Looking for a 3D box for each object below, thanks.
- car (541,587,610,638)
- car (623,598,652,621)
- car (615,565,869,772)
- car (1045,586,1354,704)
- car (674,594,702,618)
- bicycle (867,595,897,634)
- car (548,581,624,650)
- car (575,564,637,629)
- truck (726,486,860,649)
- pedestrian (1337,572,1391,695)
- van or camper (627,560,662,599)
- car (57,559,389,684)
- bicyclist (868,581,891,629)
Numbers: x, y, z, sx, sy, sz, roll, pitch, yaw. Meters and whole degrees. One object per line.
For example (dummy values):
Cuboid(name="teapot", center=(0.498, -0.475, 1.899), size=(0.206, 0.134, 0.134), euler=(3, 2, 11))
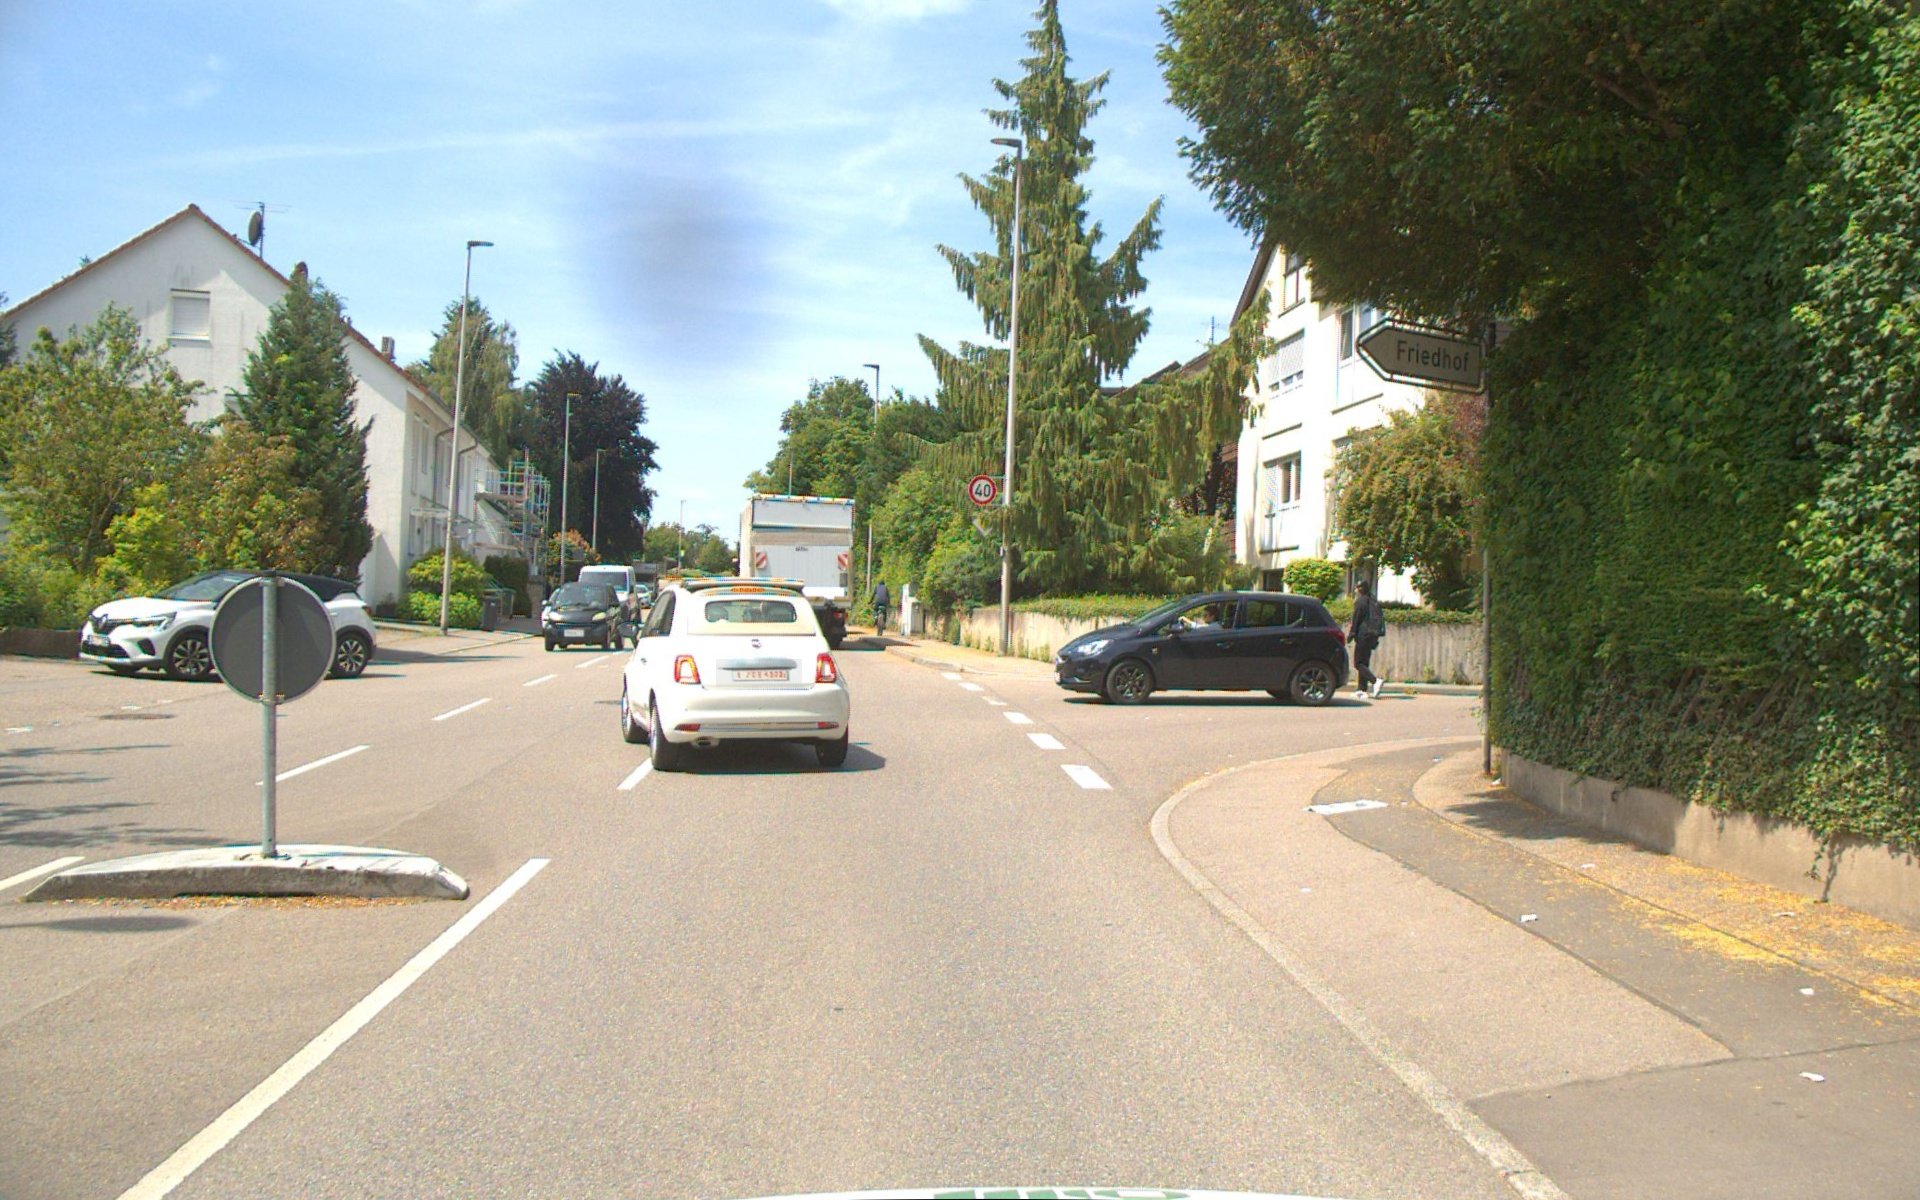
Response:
Cuboid(name="car", center=(-11.550, 0.351, 49.852), size=(1.772, 1.422, 3.991), euler=(1, 0, -10))
Cuboid(name="car", center=(-21.932, 0.659, 112.553), size=(1.448, 1.520, 3.078), euler=(1, 0, -3))
Cuboid(name="car", center=(-2.087, 0.518, 14.853), size=(1.697, 1.587, 3.983), euler=(1, 0, -16))
Cuboid(name="car", center=(3.175, 0.583, 22.321), size=(3.856, 1.483, 1.657), euler=(1, 0, -5))
Cuboid(name="car", center=(-18.831, 0.391, 114.448), size=(1.799, 1.561, 3.992), euler=(2, 0, -9))
Cuboid(name="bicycle", center=(-2.369, 0.434, 49.876), size=(0.655, 1.123, 2.420), euler=(2, 0, -8))
Cuboid(name="car", center=(-8.632, 0.349, 38.292), size=(1.452, 1.536, 2.796), euler=(0, 0, -8))
Cuboid(name="car", center=(-13.115, -0.139, 61.481), size=(2.000, 2.238, 5.569), euler=(1, 0, -10))
Cuboid(name="truck", center=(-4.529, -0.781, 43.402), size=(3.012, 3.840, 7.851), euler=(1, 0, -9))
Cuboid(name="pedestrian", center=(5.745, 0.462, 23.523), size=(0.681, 1.700, 0.570), euler=(2, 1, 16))
Cuboid(name="van or camper", center=(-25.759, -1.678, 135.296), size=(2.222, 3.014, 5.881), euler=(2, 0, -6))
Cuboid(name="car", center=(-10.642, 0.370, 24.194), size=(1.749, 1.556, 4.164), euler=(4, -1, 28))
Cuboid(name="bicyclist", center=(-2.440, 0.145, 50.002), size=(0.577, 1.437, 0.741), euler=(2, 0, -8))
